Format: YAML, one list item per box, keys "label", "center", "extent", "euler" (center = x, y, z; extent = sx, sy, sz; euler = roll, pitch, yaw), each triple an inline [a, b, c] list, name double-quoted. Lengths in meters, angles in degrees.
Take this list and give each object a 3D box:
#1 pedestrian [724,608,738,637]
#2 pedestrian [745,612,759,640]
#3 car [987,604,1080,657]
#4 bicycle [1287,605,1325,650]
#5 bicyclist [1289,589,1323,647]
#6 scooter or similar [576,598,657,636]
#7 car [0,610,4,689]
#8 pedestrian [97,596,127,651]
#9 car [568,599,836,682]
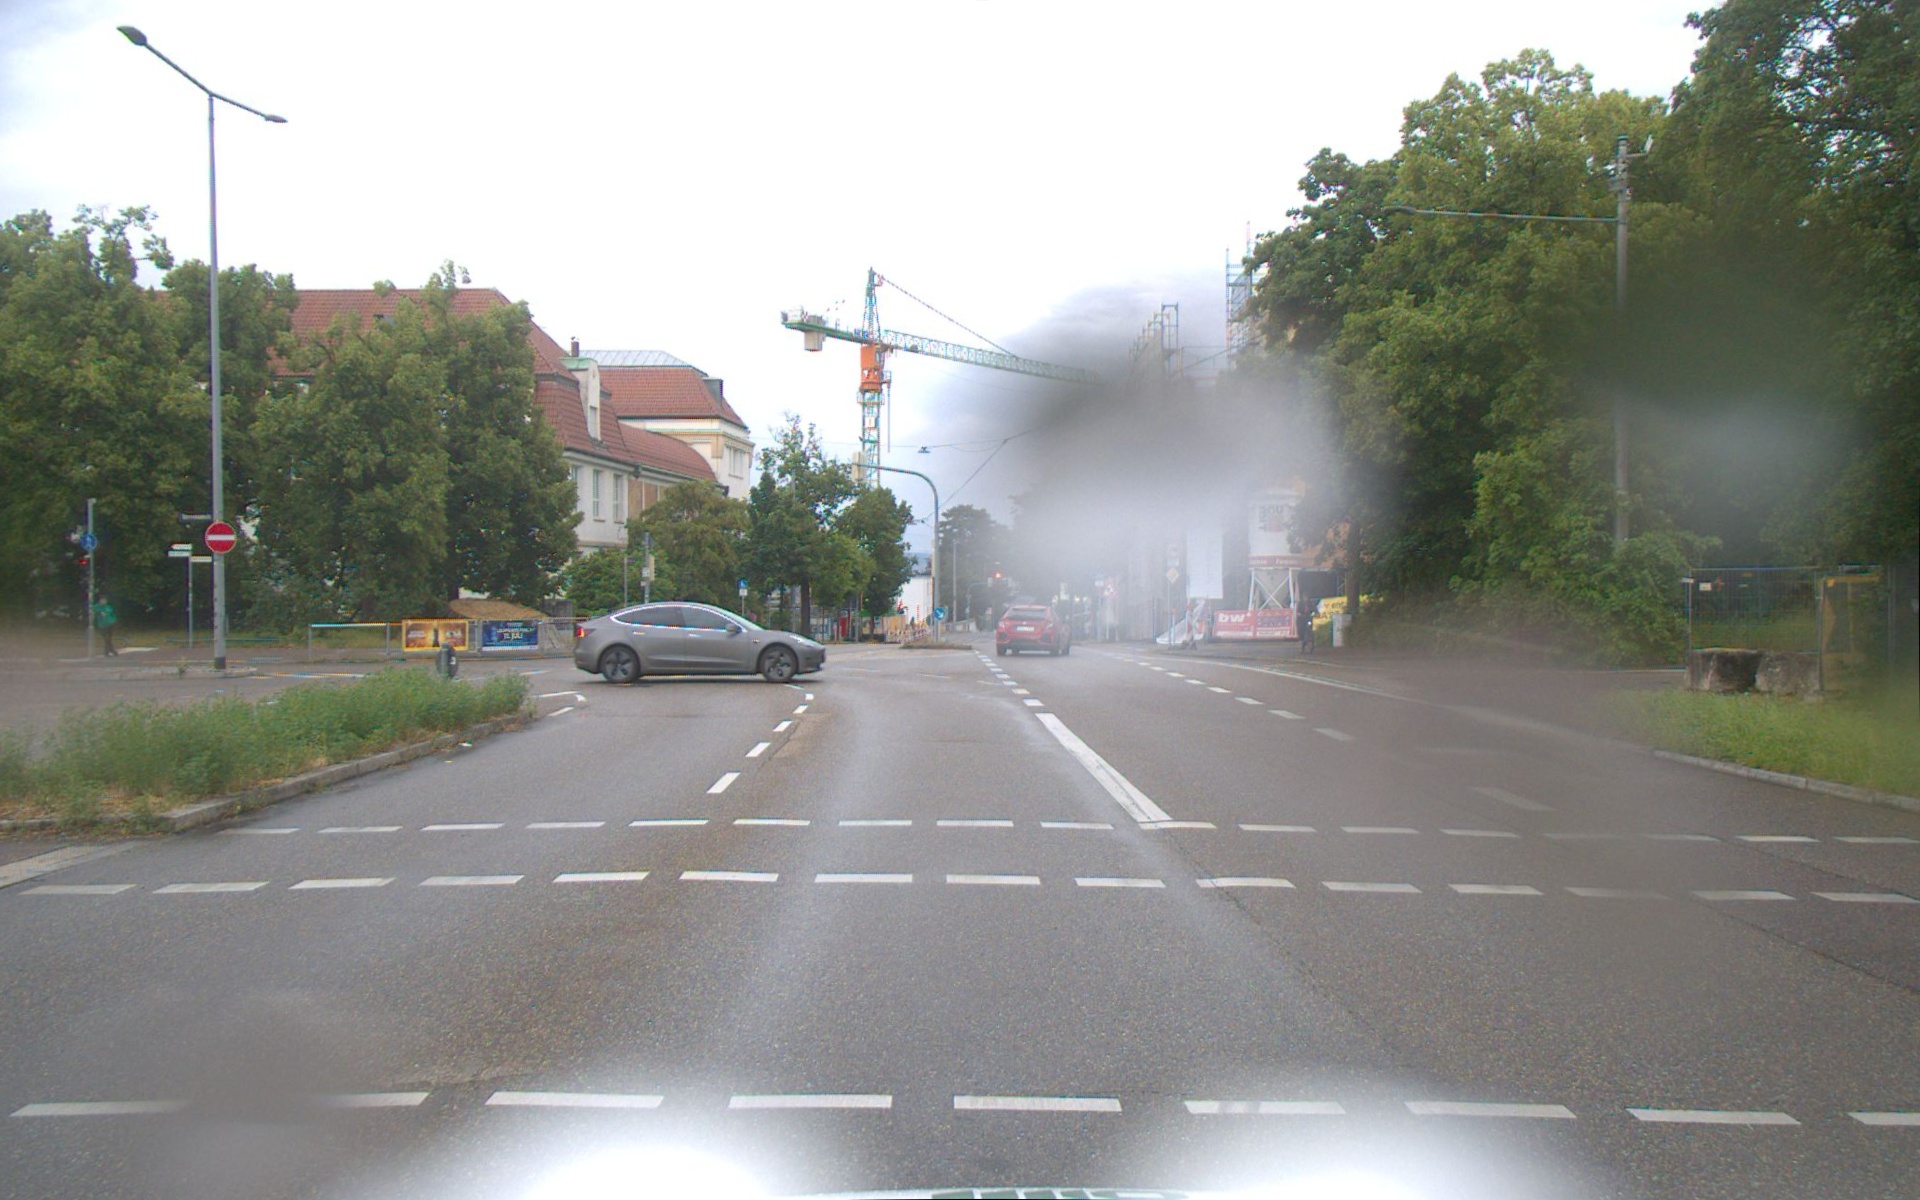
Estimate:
- label: "pedestrian"
  center: [-11.555, 1.124, 83.433]
  extent: [0.575, 1.454, 0.467]
  euler: [1, -2, -1]
- label: "pedestrian"
  center: [-10.637, 1.323, 84.653]
  extent: [0.624, 1.410, 0.606]
  euler: [2, -2, -2]
- label: "car"
  center: [2.189, 0.837, 47.988]
  extent: [1.951, 1.450, 4.523]
  euler: [0, 0, 12]
- label: "bicycle"
  center: [9.748, 0.789, 46.656]
  extent: [0.705, 1.214, 1.755]
  euler: [1, -2, 0]
- label: "bicyclist"
  center: [9.761, 0.512, 46.708]
  extent: [0.705, 1.591, 1.142]
  euler: [1, -2, 0]
- label: "scooter or similar"
  center: [-13.733, 0.660, 66.142]
  extent: [3.026, 1.465, 0.948]
  euler: [-1, 0, -4]
- label: "car"
  center: [-19.840, 0.889, 29.482]
  extent: [4.432, 1.450, 2.000]
  euler: [0, 0, 1]
- label: "pedestrian"
  center: [-23.465, 0.639, 45.760]
  extent: [0.608, 1.516, 0.768]
  euler: [0, 0, -17]
- label: "car"
  center: [-4.621, 0.726, 30.278]
  extent: [4.676, 1.450, 1.998]
  euler: [0, 0, -4]
